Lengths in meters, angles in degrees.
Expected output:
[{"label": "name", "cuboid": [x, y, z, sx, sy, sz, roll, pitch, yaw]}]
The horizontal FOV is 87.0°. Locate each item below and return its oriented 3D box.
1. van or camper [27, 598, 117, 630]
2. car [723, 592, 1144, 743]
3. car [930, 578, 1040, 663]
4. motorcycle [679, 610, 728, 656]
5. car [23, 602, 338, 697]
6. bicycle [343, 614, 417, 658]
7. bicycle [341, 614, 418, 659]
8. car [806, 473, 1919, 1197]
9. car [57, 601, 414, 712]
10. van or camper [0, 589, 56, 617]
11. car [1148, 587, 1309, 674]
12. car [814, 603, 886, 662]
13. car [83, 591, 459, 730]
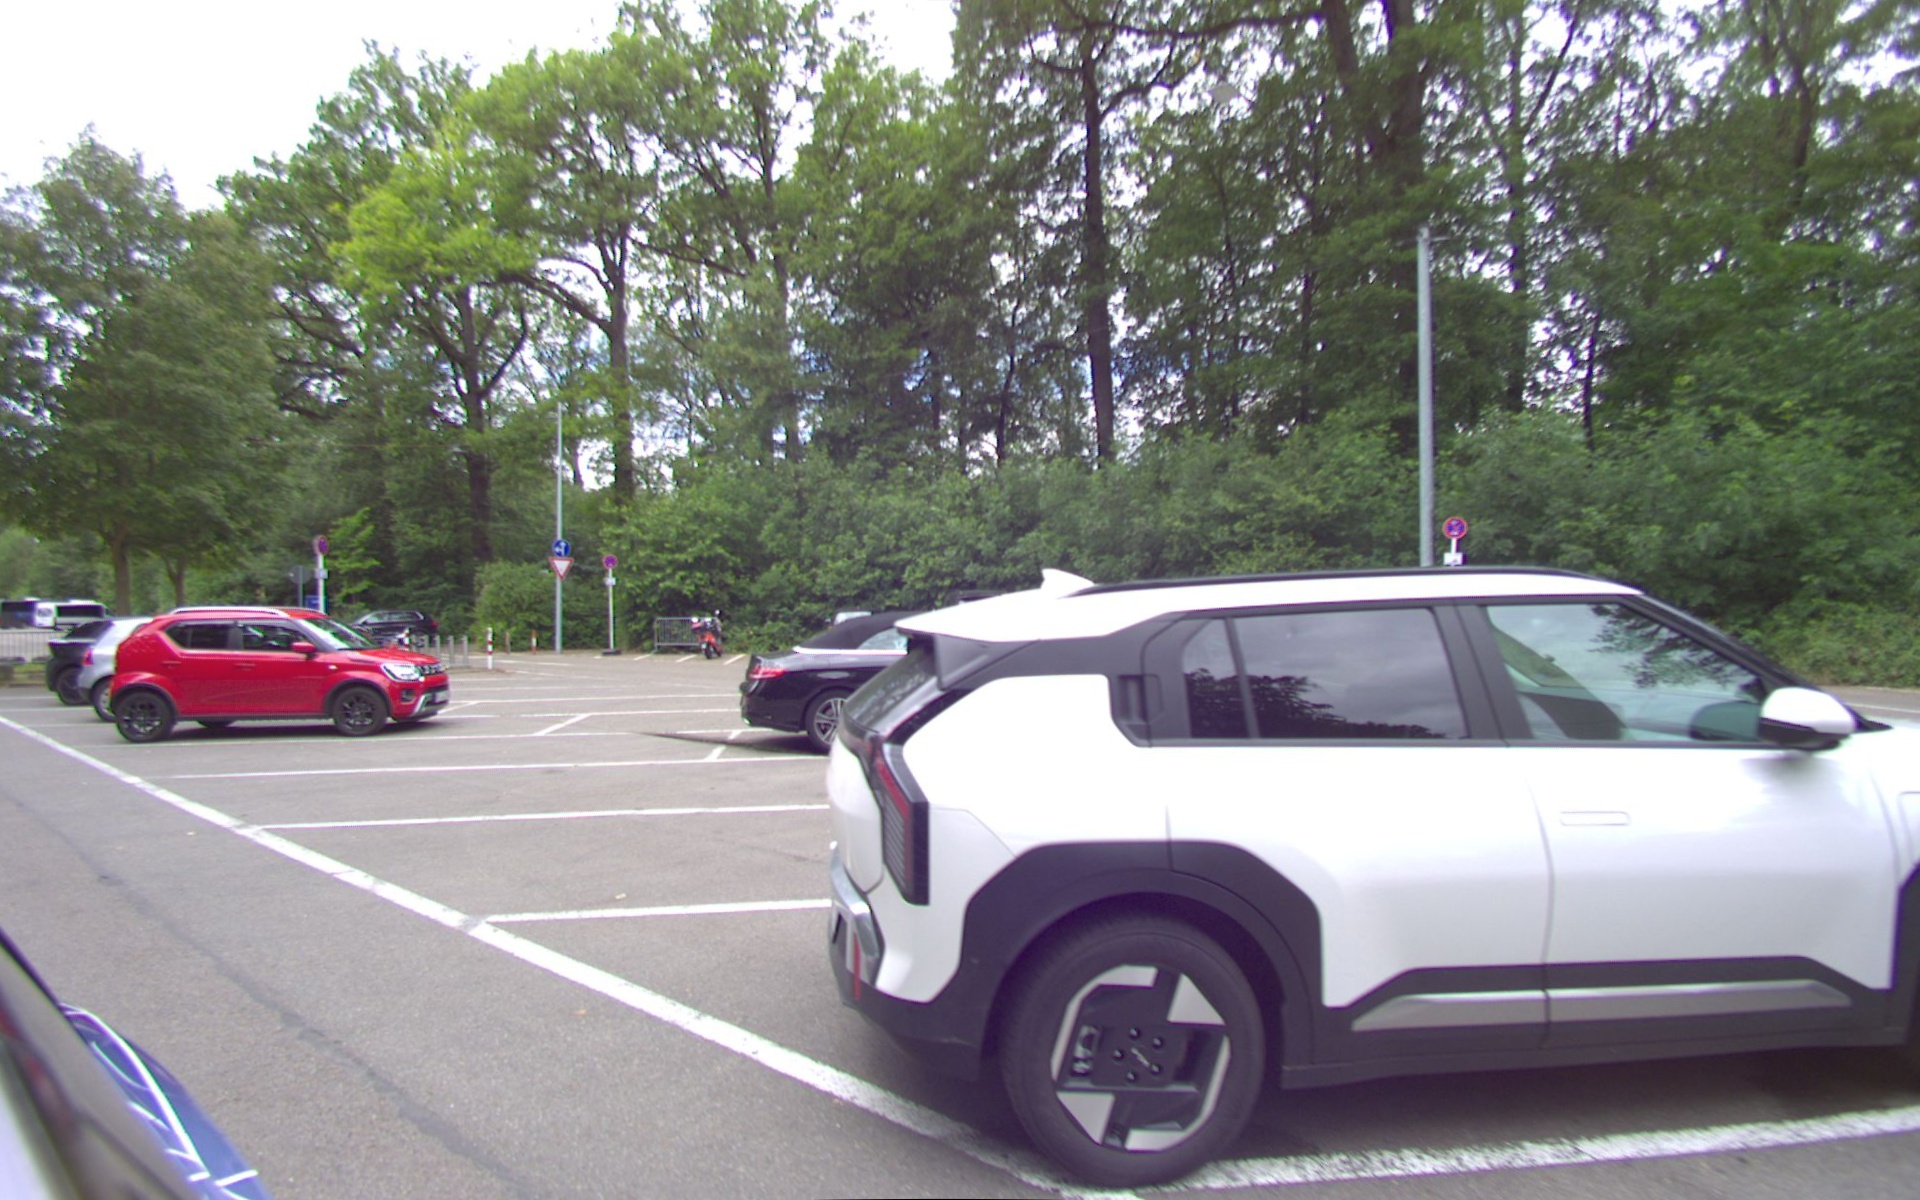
[{"label": "van or camper", "cuboid": [-83.315, 1.300, 95.170, 2.040, 2.871, 7.339, 0, 0, 0]}, {"label": "car", "cuboid": [-0.345, 0.665, 11.115, 4.248, 1.453, 1.873, -1, 0, -7]}, {"label": "car", "cuboid": [0.467, 0.454, 23.797, 2.080, 1.780, 4.713, -1, 0, -4]}, {"label": "motorcycle", "cuboid": [-7.222, 0.905, 28.608, 0.721, 1.217, 2.026, 0, 0, 5]}, {"label": "car", "cuboid": [-13.398, 0.813, 17.590, 4.040, 1.534, 1.831, 0, 0, -2]}, {"label": "bicycle", "cuboid": [-15.550, 0.957, 27.149, 1.671, 1.120, 0.483, 0, 0, -42]}, {"label": "bicycle", "cuboid": [-15.008, 0.928, 26.209, 1.660, 1.120, 0.506, 0, 0, -44]}, {"label": "car", "cuboid": [1.590, 0.505, 3.417, 4.124, 1.608, 1.849, -1, -1, -7]}, {"label": "car", "cuboid": [-10.632, 0.778, 15.139, 3.937, 1.495, 1.880, 0, 0, -7]}, {"label": "van or camper", "cuboid": [-102.400, 0.322, 109.541, 2.176, 2.871, 7.329, 0, 0, 5]}, {"label": "car", "cuboid": [5.175, 0.558, 20.065, 1.841, 1.522, 4.004, -1, 0, -4]}, {"label": "car", "cuboid": [-2.780, 0.786, 26.197, 1.714, 1.386, 4.004, 0, 0, -4]}, {"label": "car", "cuboid": [-8.557, 0.708, 12.858, 3.597, 1.597, 1.690, -1, 0, -7]}]
